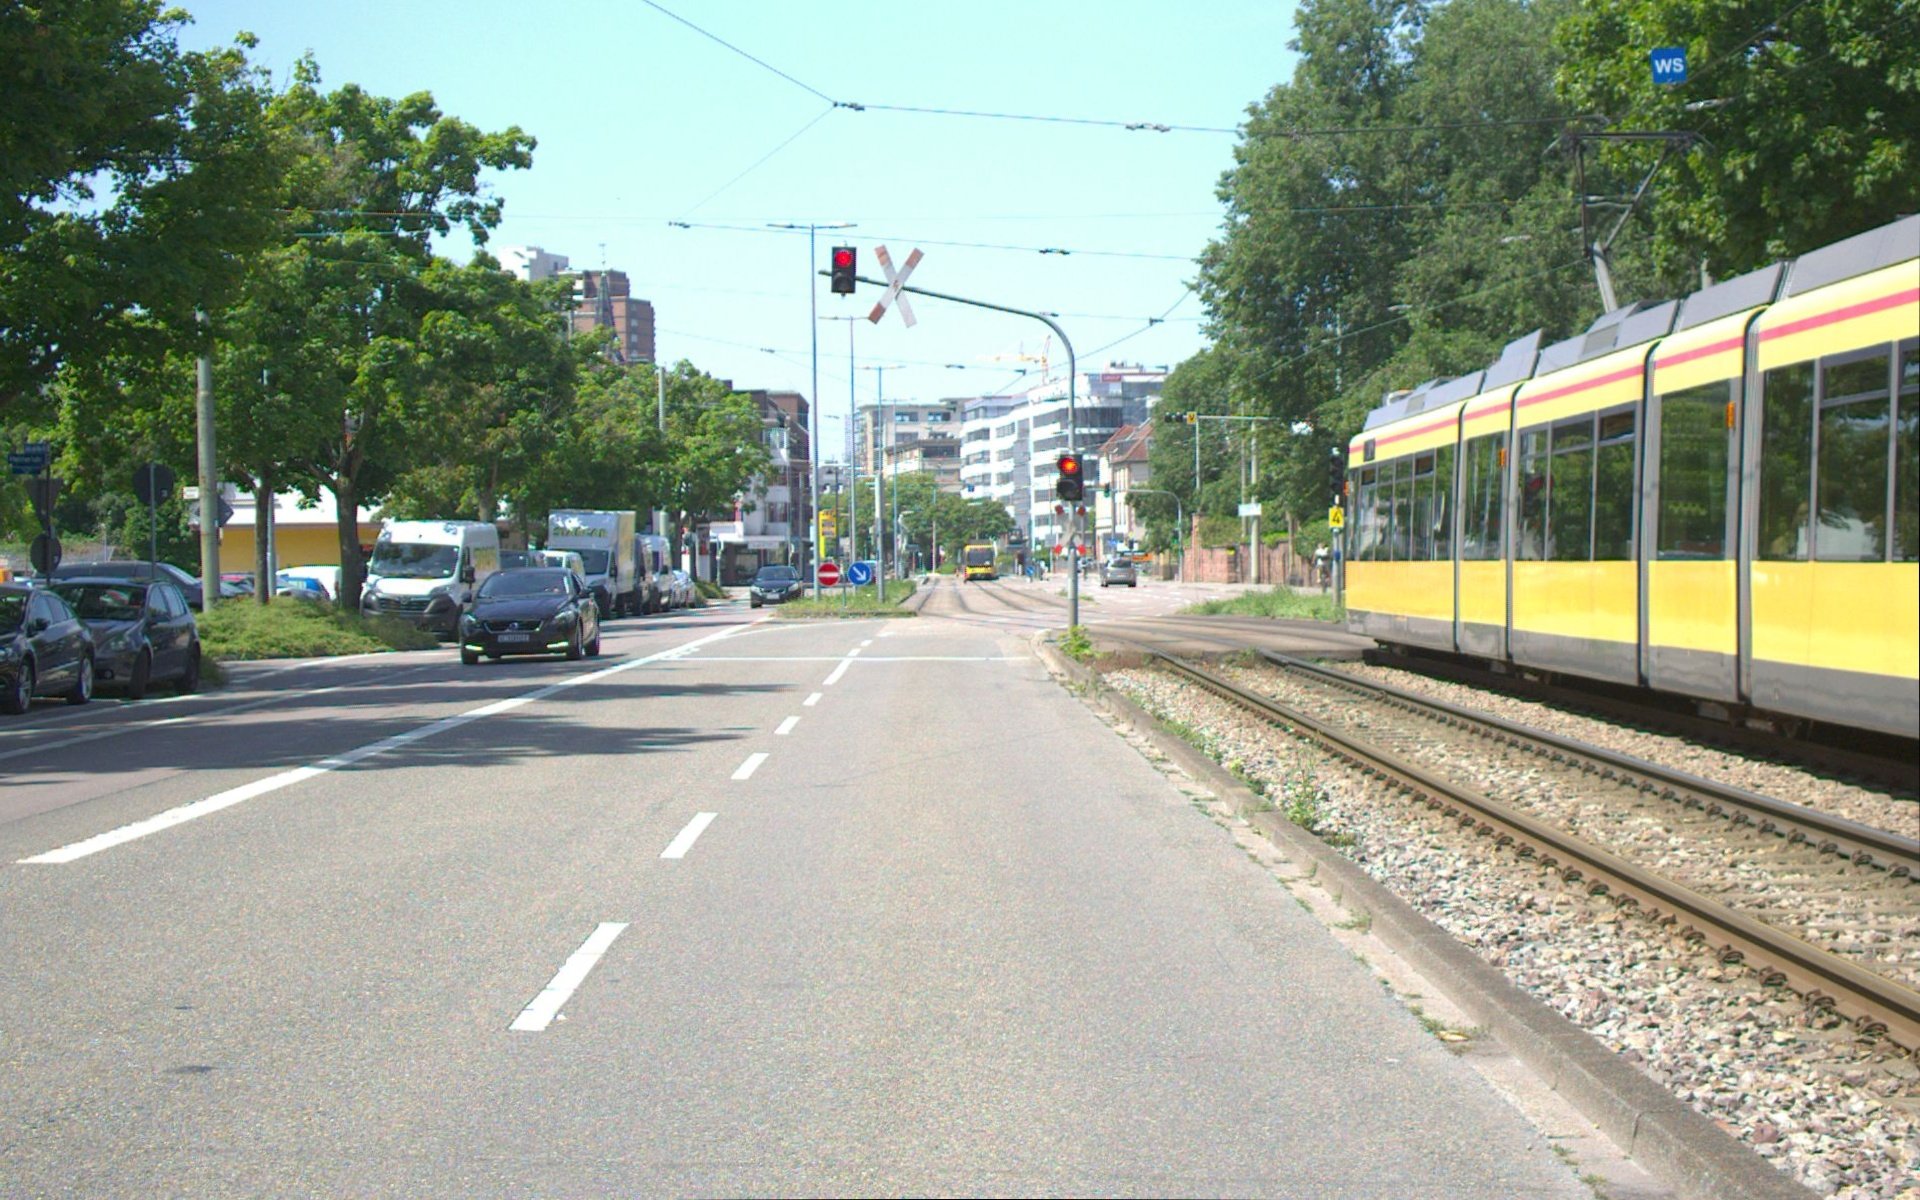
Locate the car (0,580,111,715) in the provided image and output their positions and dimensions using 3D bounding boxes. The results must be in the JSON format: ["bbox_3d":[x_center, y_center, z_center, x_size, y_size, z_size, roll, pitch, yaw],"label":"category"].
[{"bbox_3d":[-10.976,0.483,38.707,1.774,1.368,4.697,1,1,-2],"label":"car"}]

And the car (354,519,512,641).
[{"bbox_3d":[-11.187,-0.456,73.454,2.157,2.478,6.192,-1,1,2],"label":"car"}]

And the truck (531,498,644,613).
[{"bbox_3d":[-10.948,-1.318,101.552,2.157,3.199,7.082,2,1,2],"label":"truck"}]

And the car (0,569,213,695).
[{"bbox_3d":[-10.829,0.367,43.718,1.774,1.476,4.048,1,1,0],"label":"car"}]

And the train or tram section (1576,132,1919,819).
[{"bbox_3d":[6.613,-0.674,19.335,2.943,3.679,18.390,0,1,0],"label":"train or tram section"}]

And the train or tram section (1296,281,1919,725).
[{"bbox_3d":[6.448,-0.960,38.735,2.943,3.679,20.285,0,1,-1],"label":"train or tram section"}]

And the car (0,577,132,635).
[{"bbox_3d":[-22.146,0.142,82.768,3.987,1.335,1.805,-1,1,-1],"label":"car"}]

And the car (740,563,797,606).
[{"bbox_3d":[-6.745,-0.571,121.330,1.678,1.393,4.006,-3,1,1],"label":"car"}]

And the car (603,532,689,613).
[{"bbox_3d":[-10.629,-0.950,116.897,2.157,2.630,5.611,-1,1,2],"label":"car"}]

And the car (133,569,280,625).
[{"bbox_3d":[-22.537,-0.089,102.866,3.987,1.601,1.805,-1,1,-1],"label":"car"}]

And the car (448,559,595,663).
[{"bbox_3d":[-6.614,0.137,52.204,1.774,1.455,4.195,-2,1,-2],"label":"car"}]
